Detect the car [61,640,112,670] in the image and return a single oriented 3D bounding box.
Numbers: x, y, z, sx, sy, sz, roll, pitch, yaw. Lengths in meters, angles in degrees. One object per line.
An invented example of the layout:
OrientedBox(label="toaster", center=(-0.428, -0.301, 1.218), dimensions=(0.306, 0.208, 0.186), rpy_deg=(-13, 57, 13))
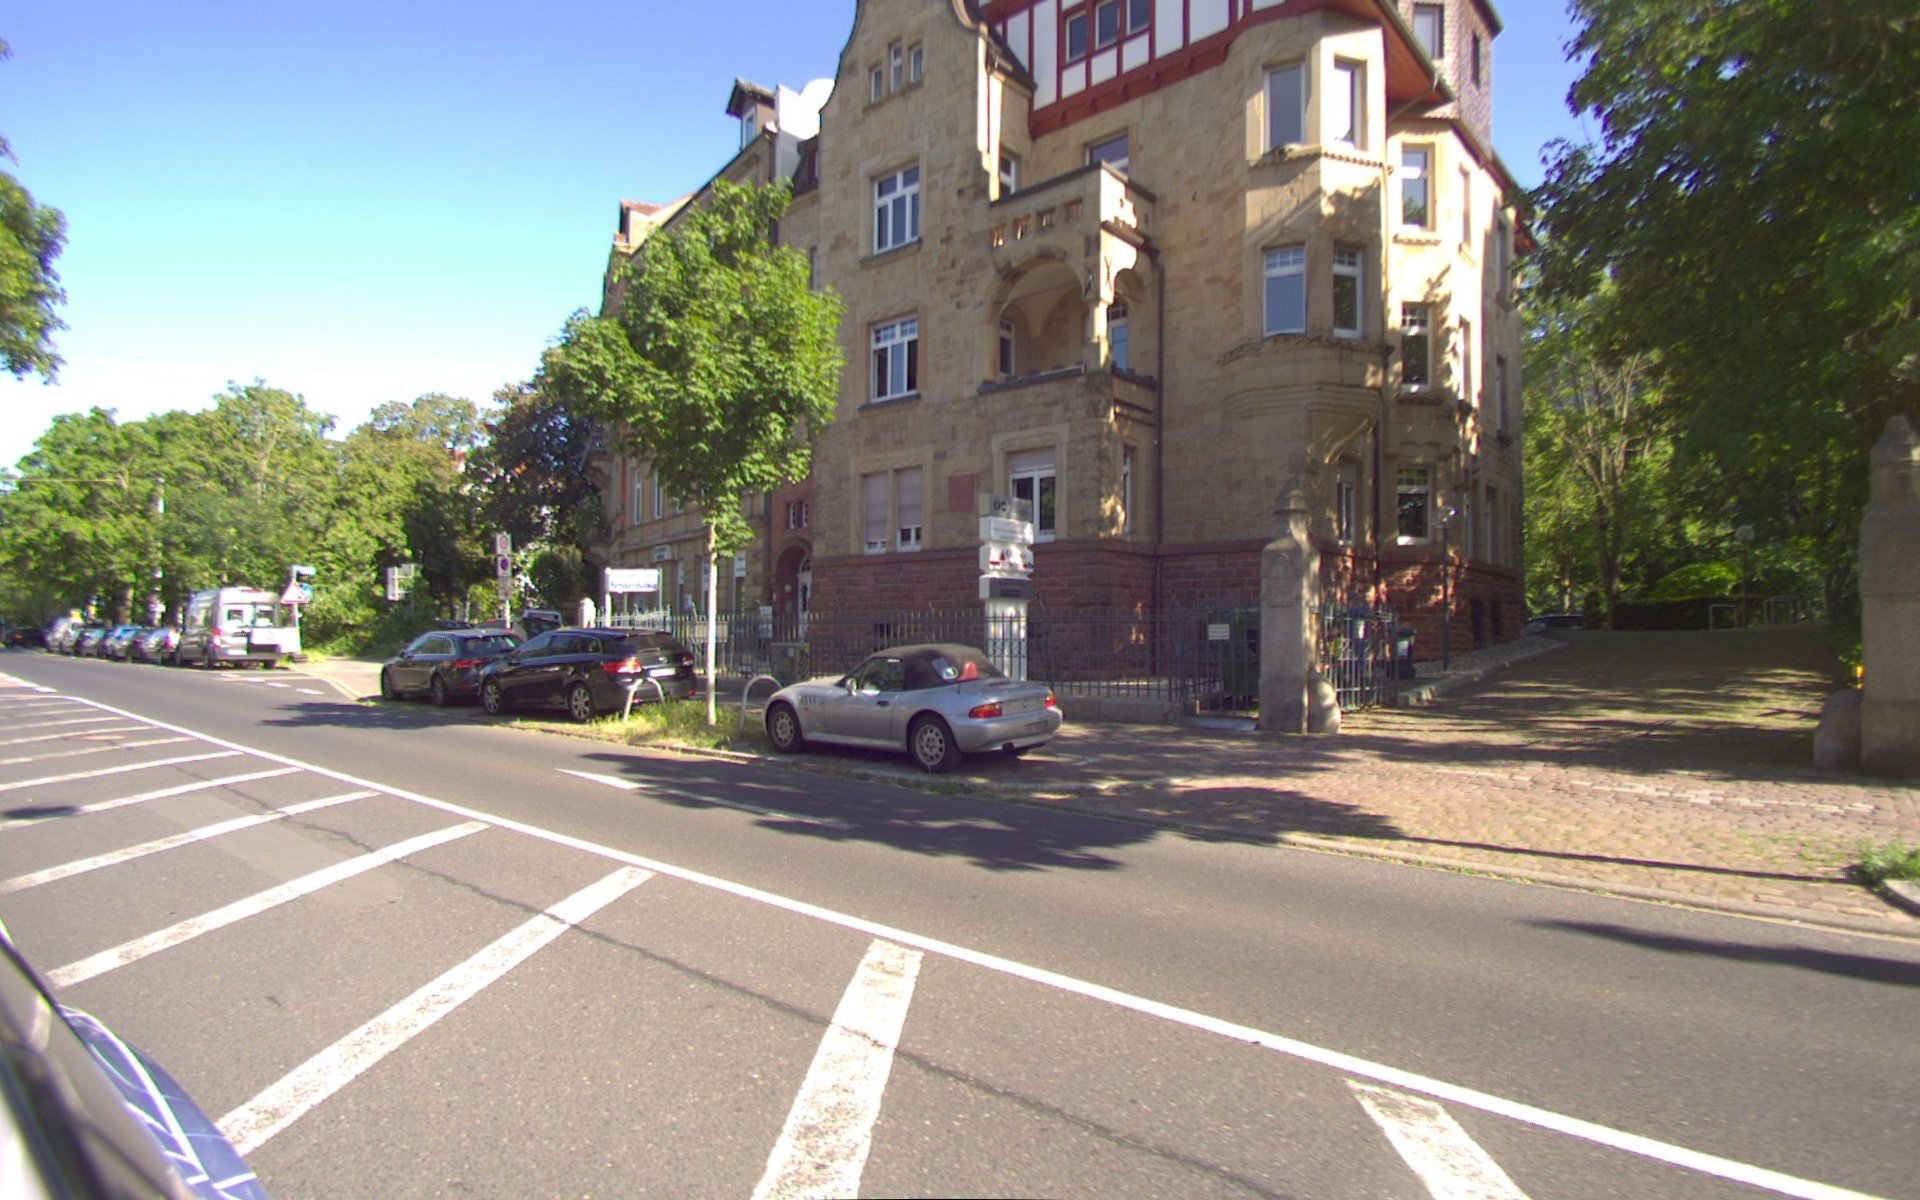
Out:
OrientedBox(label="car", center=(-46.794, 2.919, 54.200), dimensions=(3.957, 1.513, 1.448), rpy_deg=(-1, -4, 42))

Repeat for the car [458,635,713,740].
OrientedBox(label="car", center=(-6.508, 1.398, 17.362), dimensions=(4.697, 1.505, 1.839), rpy_deg=(-2, 0, 37))

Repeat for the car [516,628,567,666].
OrientedBox(label="car", center=(-17.953, 1.993, 43.300), dimensions=(1.833, 1.524, 3.541), rpy_deg=(3, -3, -24))

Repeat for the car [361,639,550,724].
OrientedBox(label="car", center=(-10.404, 1.566, 20.708), dimensions=(4.719, 1.438, 1.836), rpy_deg=(-2, 0, 42))

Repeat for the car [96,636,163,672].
OrientedBox(label="car", center=(-38.659, 2.486, 47.081), dimensions=(4.558, 1.550, 1.761), rpy_deg=(-2, -2, 42))

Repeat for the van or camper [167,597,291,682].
OrientedBox(label="van or camper", center=(-25.915, 1.401, 35.768), dimensions=(6.085, 2.760, 2.193), rpy_deg=(-2, -4, 41))

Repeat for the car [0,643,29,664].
OrientedBox(label="car", center=(-66.106, 3.706, 70.369), dimensions=(4.131, 1.461, 1.576), rpy_deg=(-2, -4, 41))

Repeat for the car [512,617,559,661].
OrientedBox(label="car", center=(-20.083, 1.817, 47.790), dimensions=(1.833, 1.928, 4.466), rpy_deg=(3, -2, -24))

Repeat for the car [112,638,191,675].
OrientedBox(label="car", center=(-33.800, 2.348, 42.288), dimensions=(4.403, 1.424, 1.761), rpy_deg=(-2, -5, 41))

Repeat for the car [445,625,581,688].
OrientedBox(label="car", center=(-13.859, 1.701, 31.663), dimensions=(1.977, 1.683, 4.134), rpy_deg=(-3, -1, 8))

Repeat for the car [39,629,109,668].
OrientedBox(label="car", center=(-50.437, 2.773, 57.573), dimensions=(4.867, 2.052, 1.965), rpy_deg=(-2, -6, 37))

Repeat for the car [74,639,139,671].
OrientedBox(label="car", center=(-42.262, 2.716, 50.077), dimensions=(4.266, 1.493, 1.575), rpy_deg=(-1, -4, 38))

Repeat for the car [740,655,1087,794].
OrientedBox(label="car", center=(-0.666, 1.301, 11.719), dimensions=(4.013, 1.265, 1.660), rpy_deg=(-2, -3, 42))

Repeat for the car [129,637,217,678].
OrientedBox(label="car", center=(-30.425, 2.212, 39.074), dimensions=(4.659, 1.468, 1.676), rpy_deg=(-2, -5, 40))
